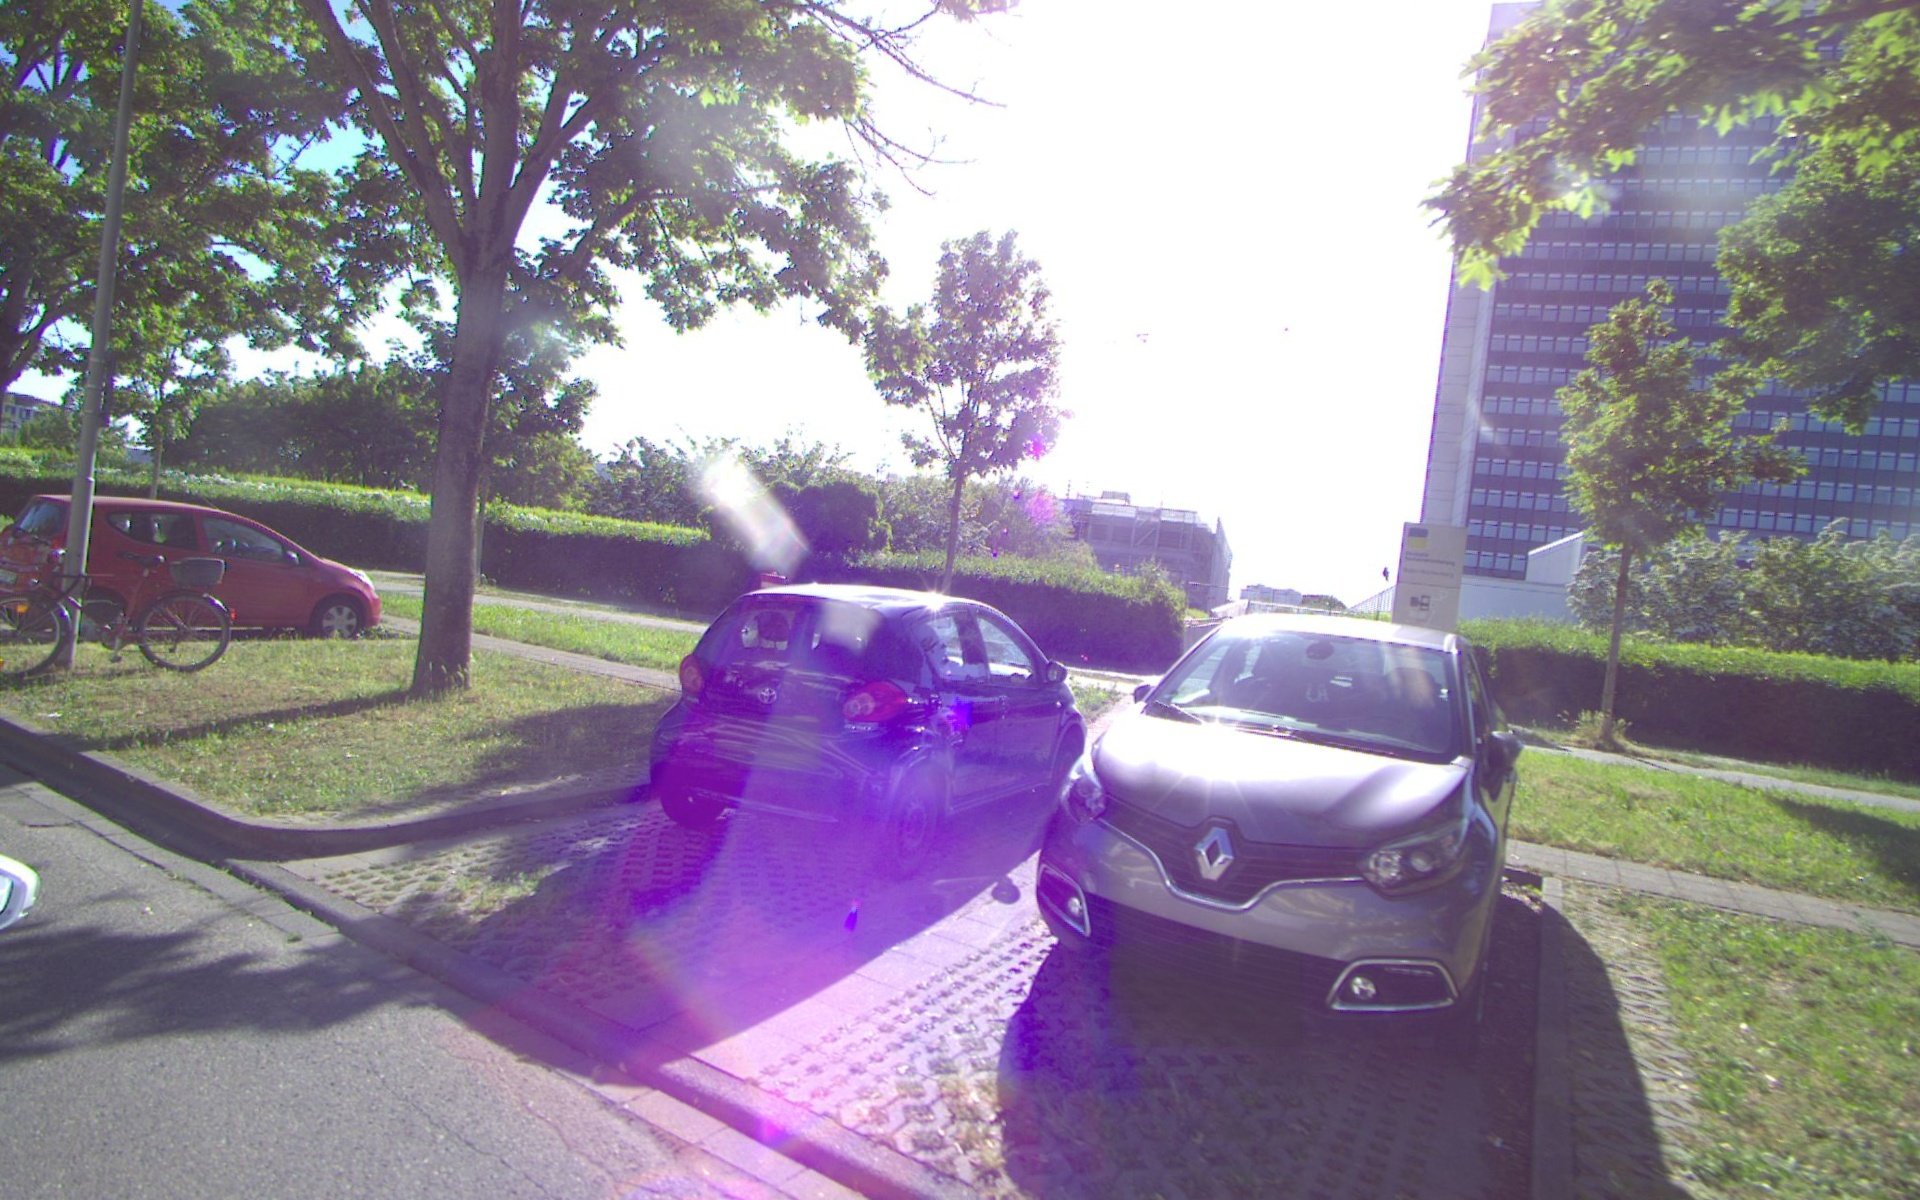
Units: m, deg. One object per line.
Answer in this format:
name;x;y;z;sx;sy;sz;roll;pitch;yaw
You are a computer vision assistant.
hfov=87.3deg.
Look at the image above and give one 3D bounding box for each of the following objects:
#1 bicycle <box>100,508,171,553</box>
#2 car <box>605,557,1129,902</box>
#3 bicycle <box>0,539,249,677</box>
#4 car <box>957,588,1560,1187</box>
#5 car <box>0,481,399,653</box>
bicycle;-18.960;-1.592;23.142;1.382;0.878;0.347;6;2;6
car;-0.338;0.626;6.724;1.826;1.499;3.465;7;2;27
bicycle;-6.881;0.088;8.117;0.522;1.004;1.747;7;2;41
car;1.905;0.868;5.140;1.828;1.567;4.194;7;2;31
car;-8.443;-0.335;11.212;1.600;1.565;3.434;7;3;31
